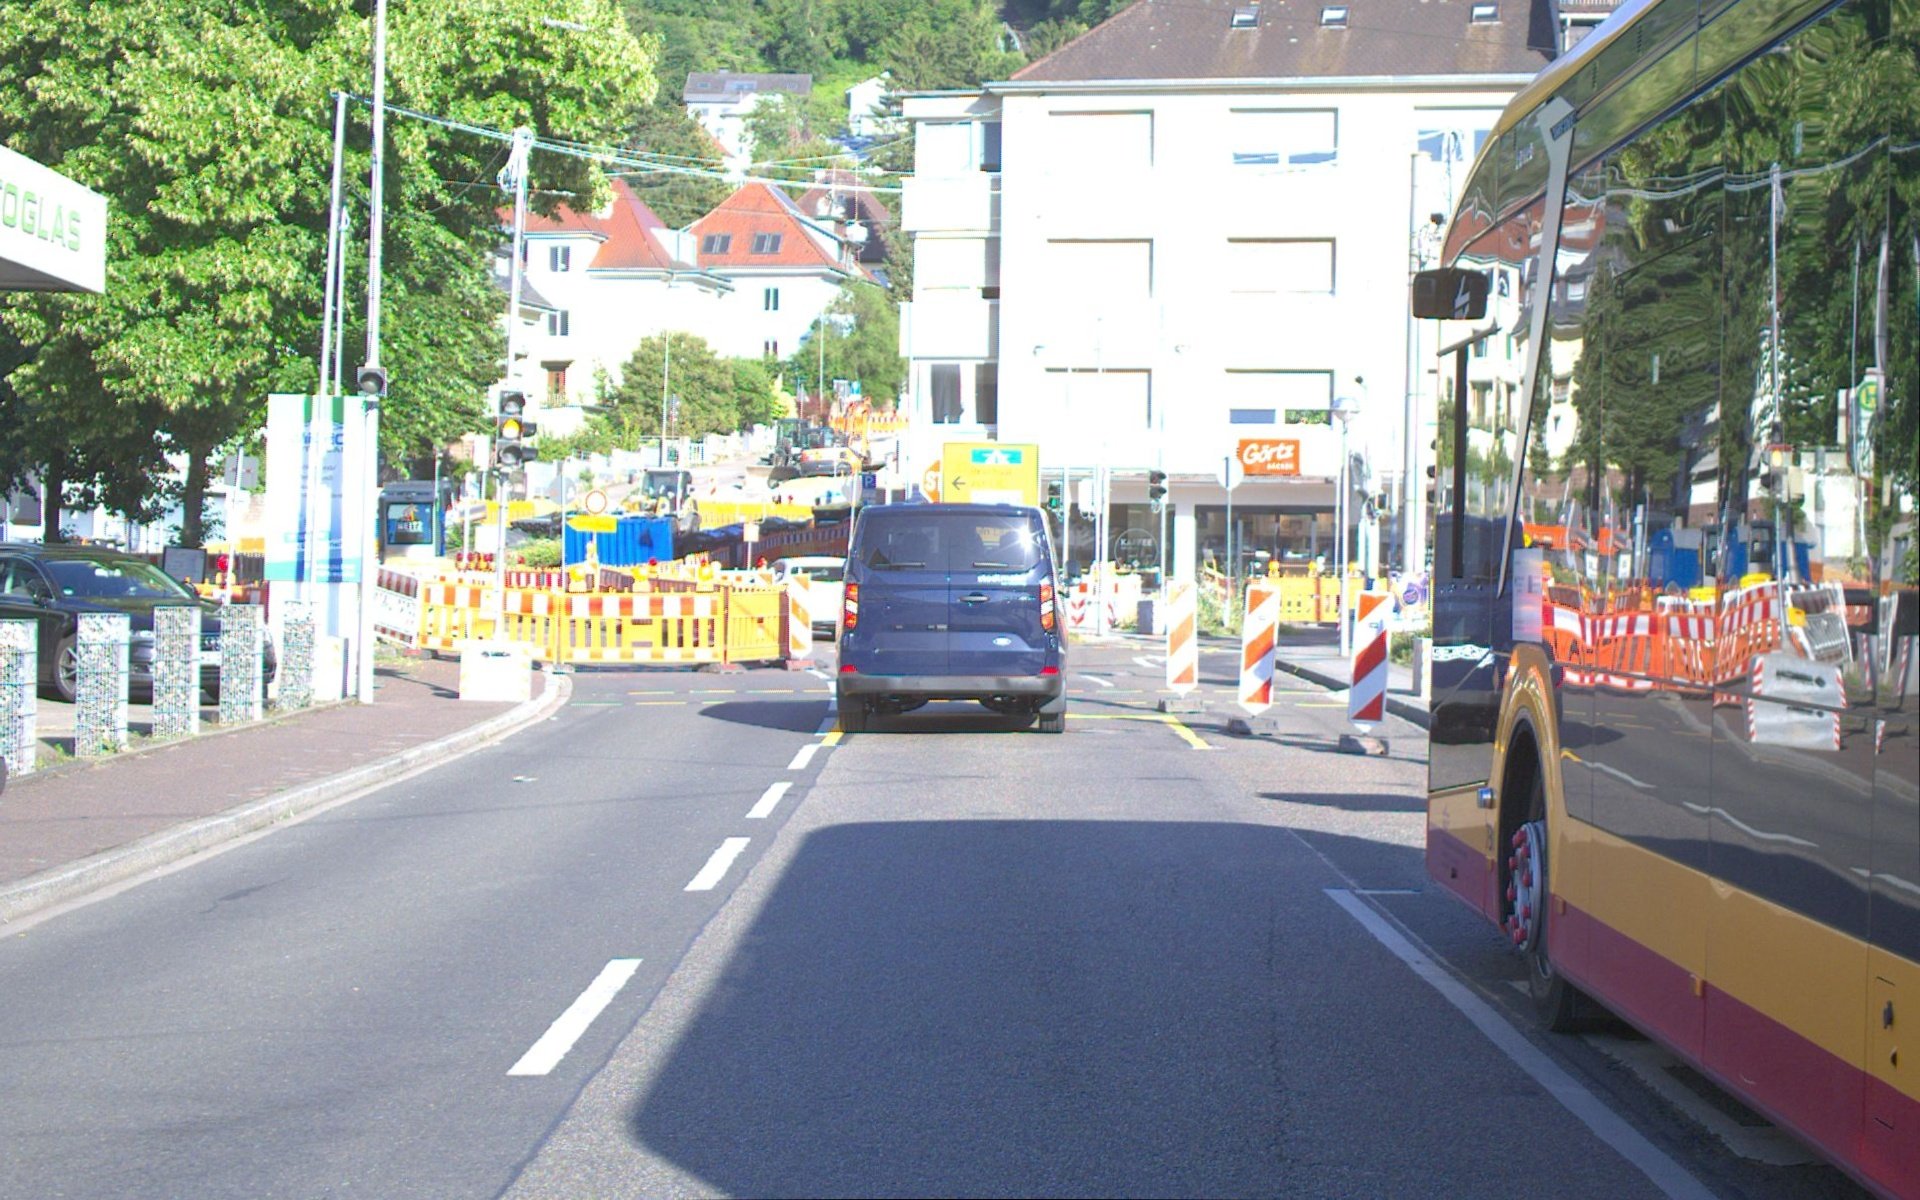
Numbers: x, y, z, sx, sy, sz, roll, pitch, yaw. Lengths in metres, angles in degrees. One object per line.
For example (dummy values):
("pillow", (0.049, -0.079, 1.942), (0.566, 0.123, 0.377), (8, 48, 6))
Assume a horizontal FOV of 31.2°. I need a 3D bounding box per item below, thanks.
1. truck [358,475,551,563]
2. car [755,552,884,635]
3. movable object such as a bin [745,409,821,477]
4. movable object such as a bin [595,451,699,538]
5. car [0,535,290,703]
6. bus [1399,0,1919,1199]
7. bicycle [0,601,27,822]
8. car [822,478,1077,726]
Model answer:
("truck", (-14.450, -2.279, 99.068), (2.357, 2.407, 9.147), (1, 1, 13))
("car", (-2.509, -0.130, 60.591), (1.794, 1.405, 4.001), (0, 1, -9))
("movable object such as a bin", (-7.377, -6.568, 143.957), (2.192, 2.681, 3.998), (1, 1, 12))
("movable object such as a bin", (-9.954, -3.345, 109.489), (2.192, 2.681, 3.998), (1, 1, 12))
("car", (-8.491, 0.142, 33.204), (1.905, 1.449, 4.311), (1, 1, -44))
("bus", (3.082, -0.254, 7.699), (2.688, 3.404, 12.018), (1, 1, 0))
("bicycle", (-5.544, 0.597, 18.648), (0.723, 1.174, 1.781), (1, 0, -9))
("car", (-0.073, 0.018, 31.004), (2.062, 2.007, 5.000), (1, 0, 0))
